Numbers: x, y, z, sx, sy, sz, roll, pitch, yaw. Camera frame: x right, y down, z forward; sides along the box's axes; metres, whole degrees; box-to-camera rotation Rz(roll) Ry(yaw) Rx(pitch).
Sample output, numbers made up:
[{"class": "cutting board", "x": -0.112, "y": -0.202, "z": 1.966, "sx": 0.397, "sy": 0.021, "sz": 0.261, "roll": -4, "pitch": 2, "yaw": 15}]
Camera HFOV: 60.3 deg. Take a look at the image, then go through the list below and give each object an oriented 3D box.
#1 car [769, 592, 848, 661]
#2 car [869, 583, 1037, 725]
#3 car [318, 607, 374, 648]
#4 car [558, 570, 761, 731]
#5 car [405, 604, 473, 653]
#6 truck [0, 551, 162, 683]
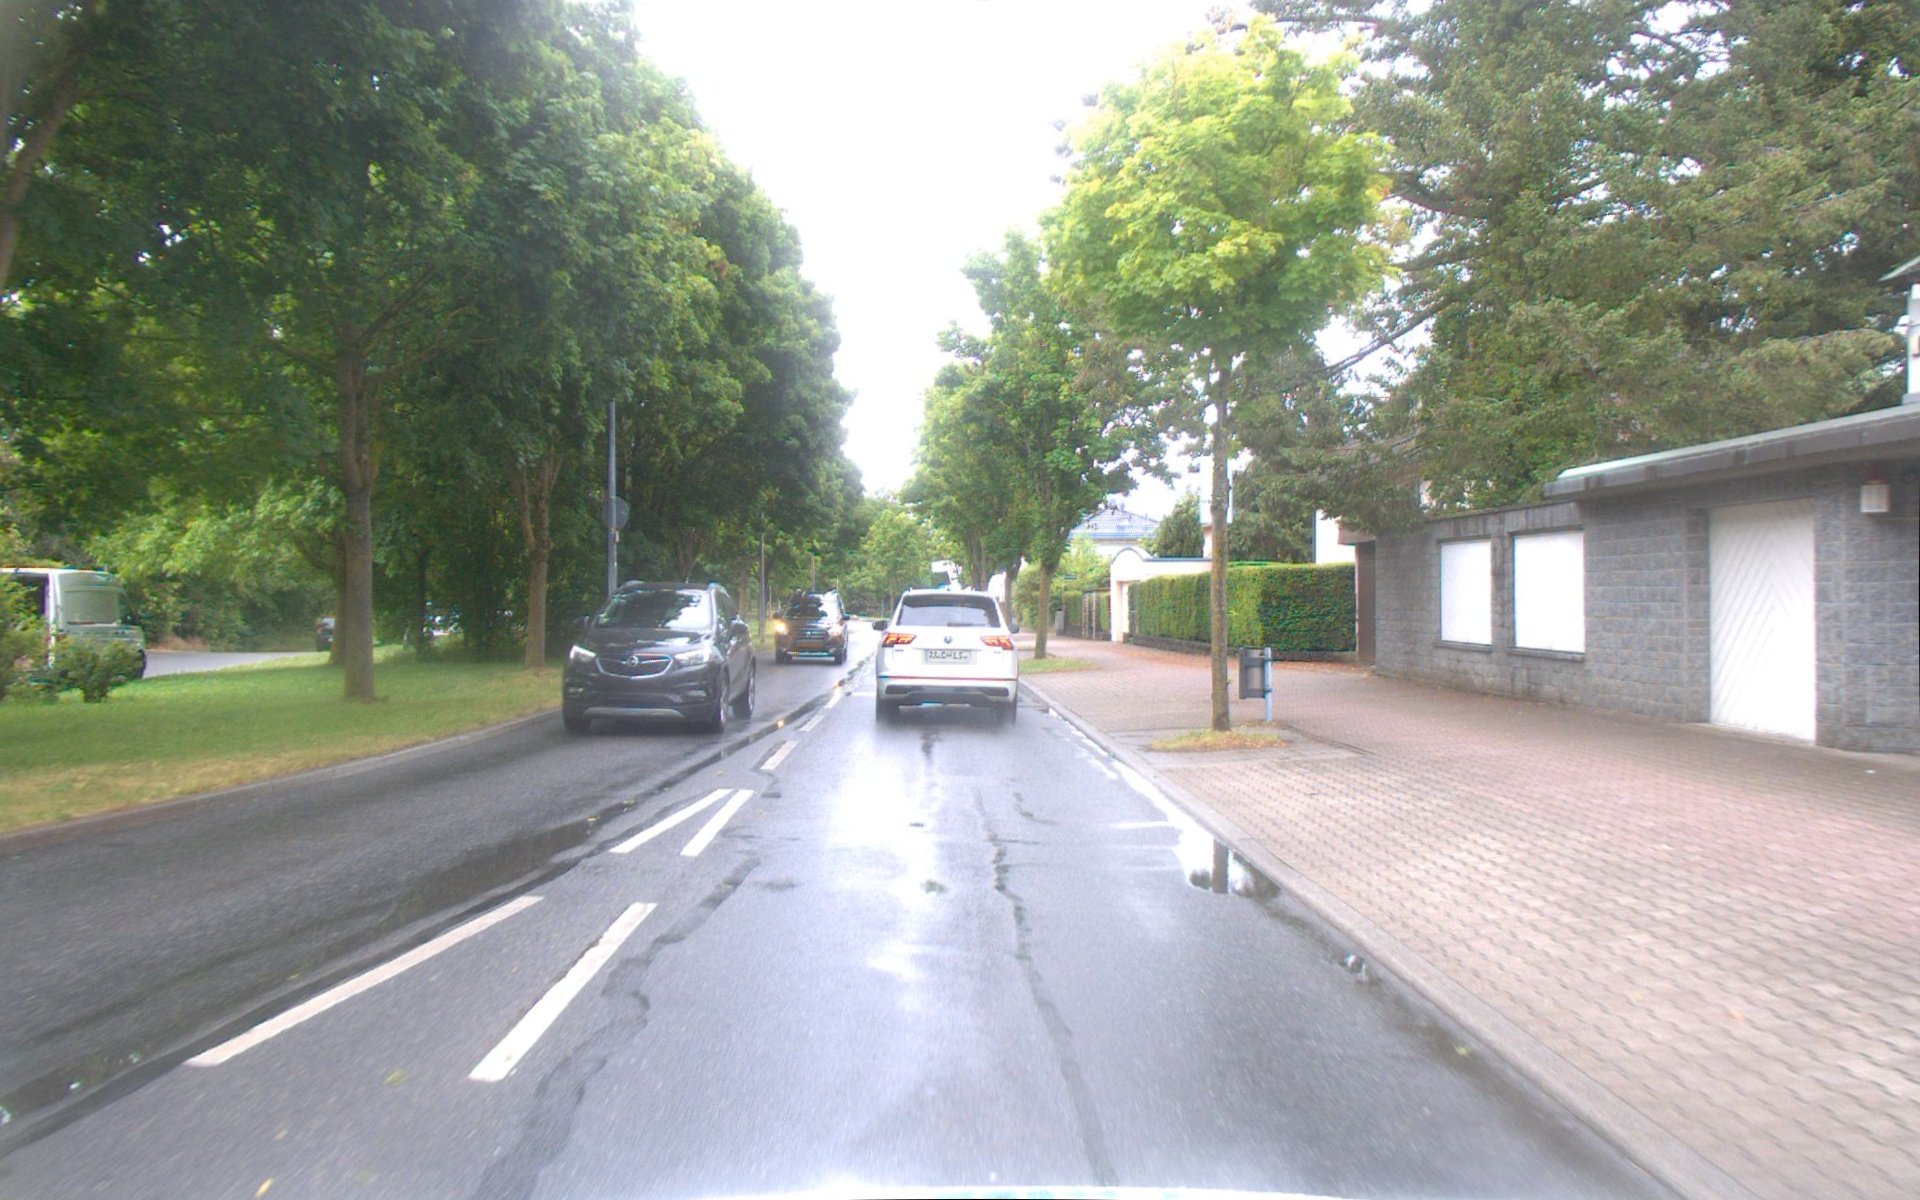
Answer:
[{"class": "car", "x": -3.829, "y": 0.647, "z": 42.342, "sx": 1.720, "sy": 1.677, "sz": 3.999, "roll": 1, "pitch": 0, "yaw": -1}, {"class": "car", "x": -0.194, "y": 0.652, "z": 21.896, "sx": 1.957, "sy": 1.660, "sz": 3.997, "roll": 2, "pitch": 0, "yaw": -4}, {"class": "car", "x": -24.373, "y": 1.080, "z": 65.693, "sx": 1.450, "sy": 1.557, "sz": 3.107, "roll": -1, "pitch": 0, "yaw": -8}, {"class": "car", "x": -3.393, "y": 0.525, "z": 19.363, "sx": 1.778, "sy": 1.677, "sz": 3.998, "roll": 1, "pitch": 0, "yaw": -2}, {"class": "car", "x": -17.235, "y": 0.915, "z": 54.872, "sx": 1.809, "sy": 1.508, "sz": 3.986, "roll": -1, "pitch": 0, "yaw": -13}, {"class": "truck", "x": -19.643, "y": 0.339, "z": 36.110, "sx": 2.242, "sy": 2.642, "sz": 5.864, "roll": -1, "pitch": 0, "yaw": -8}]
